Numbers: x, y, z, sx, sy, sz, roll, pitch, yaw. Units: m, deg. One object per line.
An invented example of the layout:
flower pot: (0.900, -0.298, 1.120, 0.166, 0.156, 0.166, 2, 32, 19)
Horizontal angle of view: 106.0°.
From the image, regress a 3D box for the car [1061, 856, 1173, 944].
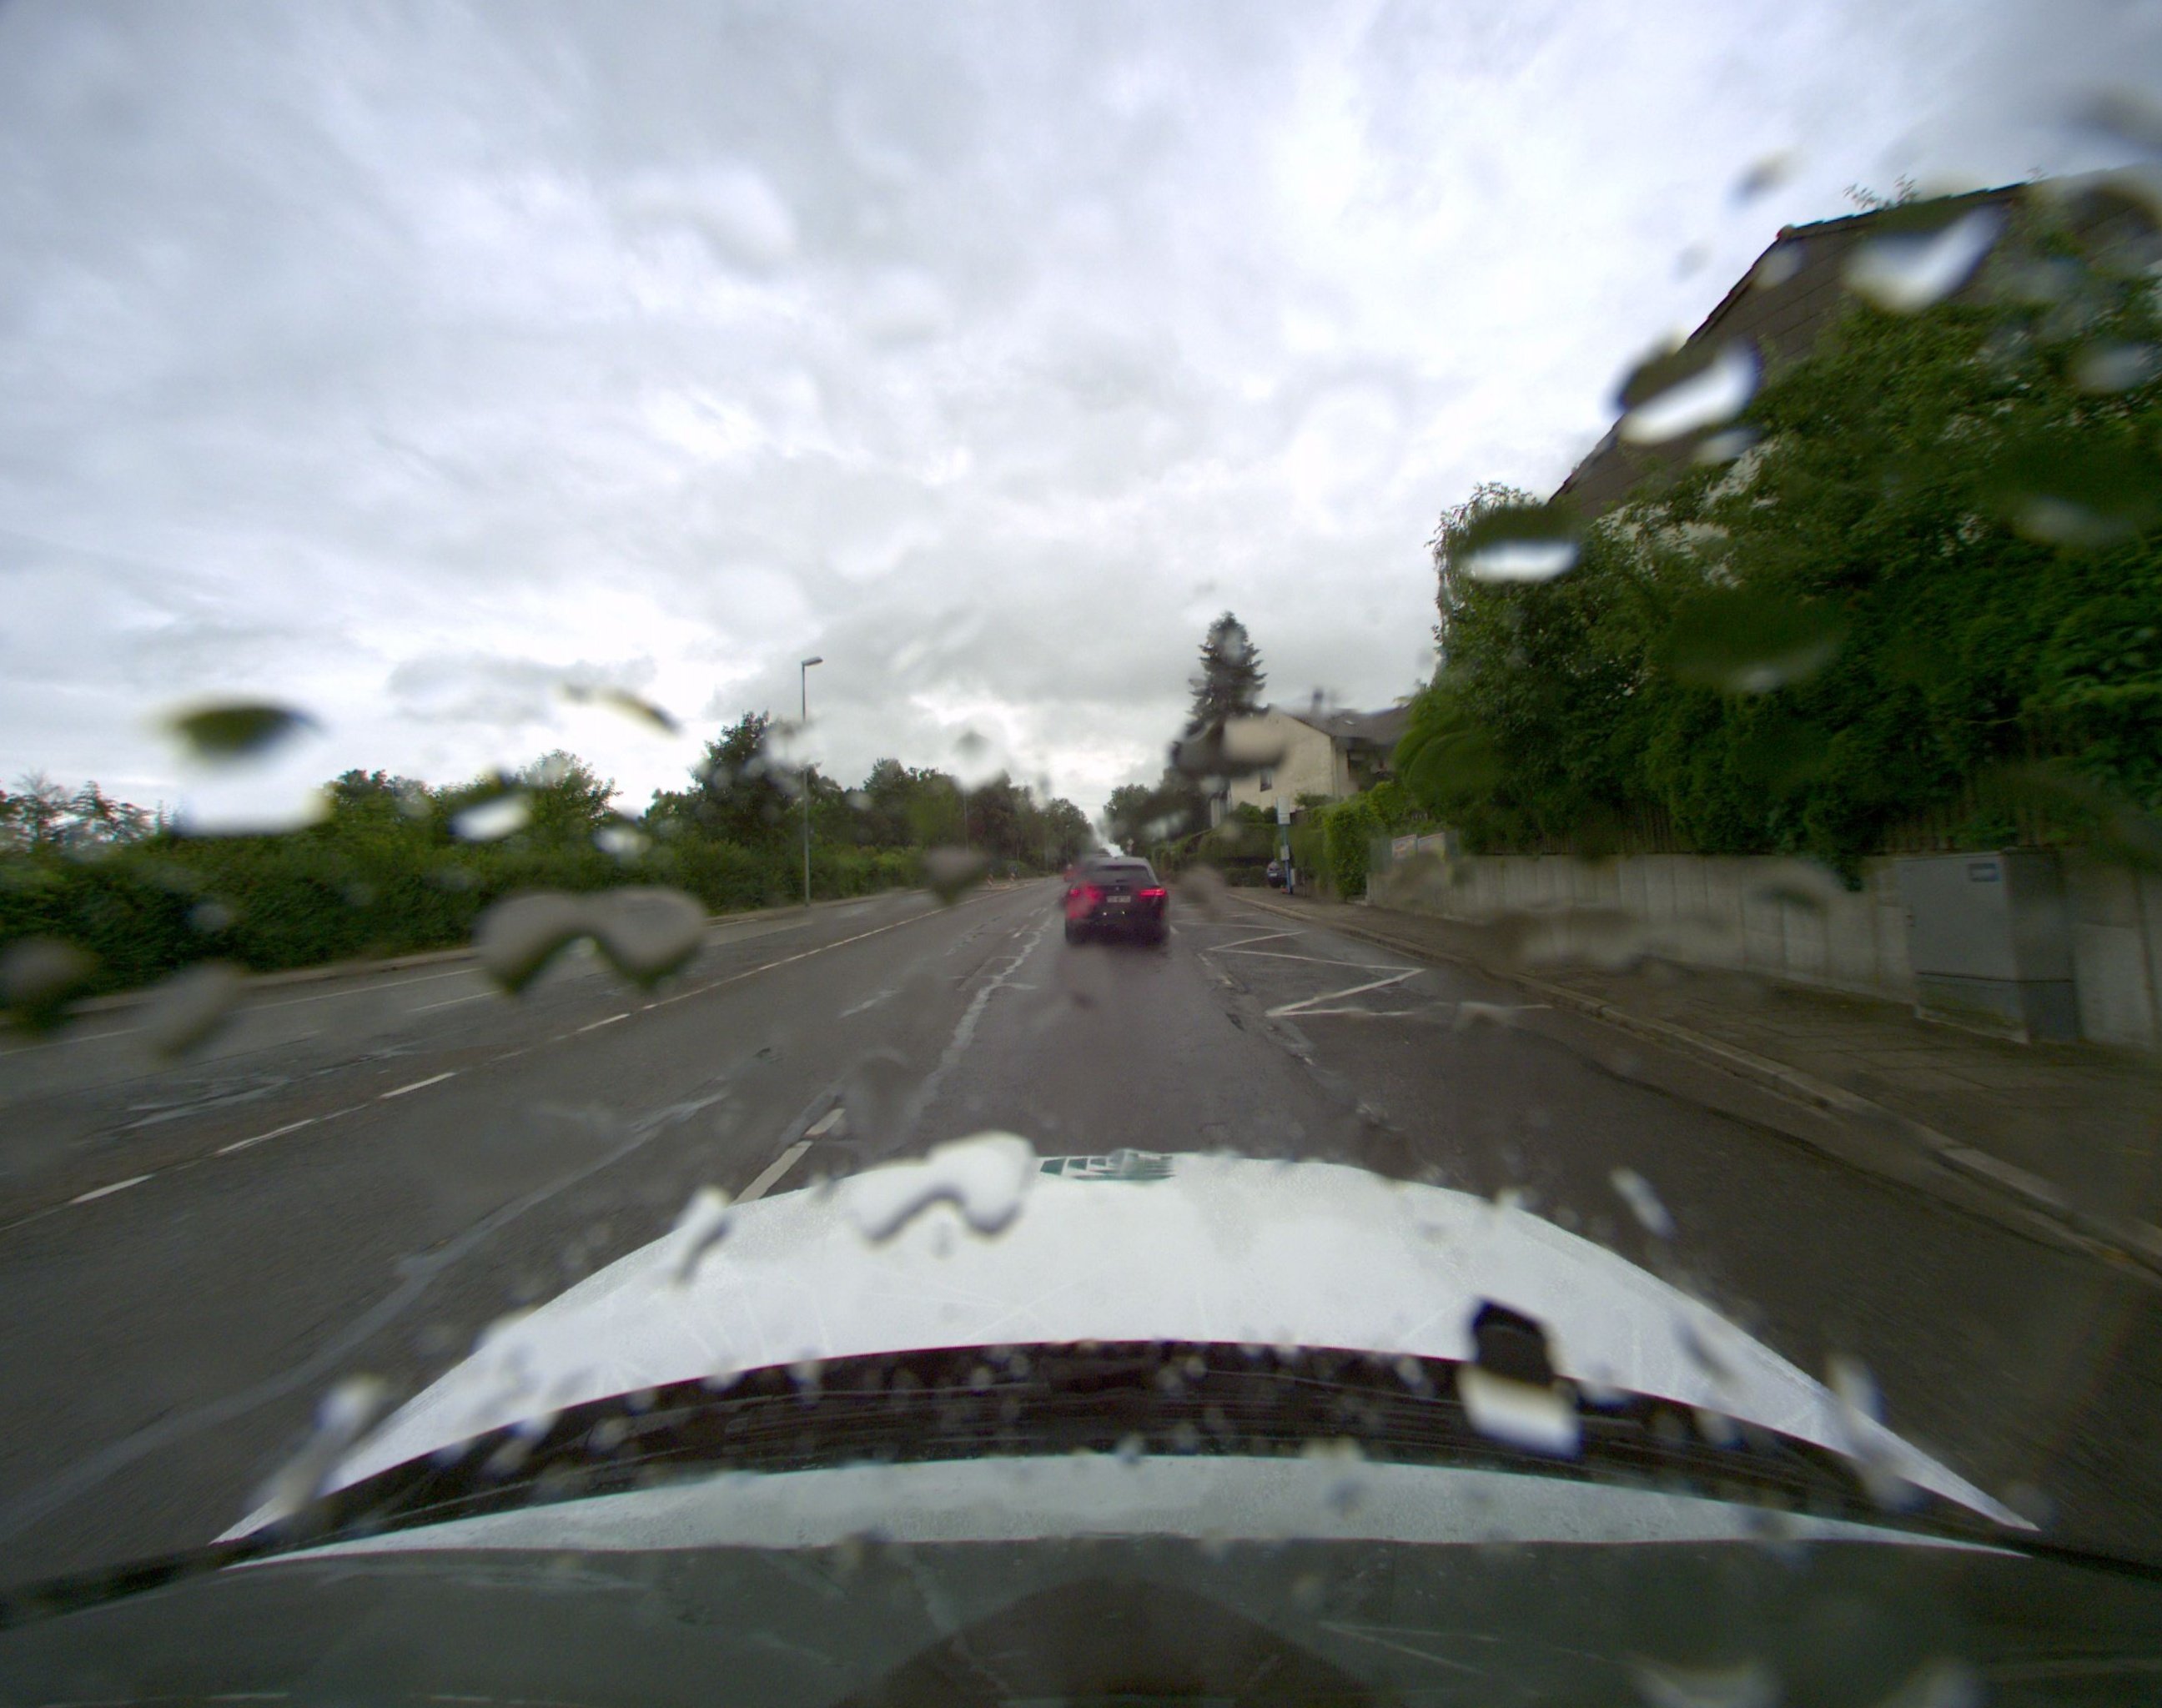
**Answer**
car: (0.696, 0.798, 15.735, 1.889, 1.489, 4.002, 0, -1, 2)

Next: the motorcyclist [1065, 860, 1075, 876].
motorcyclist: (-1.095, 1.426, 82.154, 1.036, 1.568, 0.855, 0, -1, 1)

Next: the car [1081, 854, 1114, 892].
car: (0.898, 0.964, 43.474, 1.623, 1.833, 4.001, -3, 0, 1)

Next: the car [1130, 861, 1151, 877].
car: (5.892, 1.430, 80.278, 1.927, 1.442, 4.412, -3, -1, 4)

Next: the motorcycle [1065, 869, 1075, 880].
motorcycle: (-1.108, 2.079, 82.134, 0.873, 1.124, 2.741, 0, -1, 1)

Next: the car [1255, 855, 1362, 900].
car: (9.103, 0.969, 32.568, 3.706, 1.298, 1.761, 9, -5, -19)
